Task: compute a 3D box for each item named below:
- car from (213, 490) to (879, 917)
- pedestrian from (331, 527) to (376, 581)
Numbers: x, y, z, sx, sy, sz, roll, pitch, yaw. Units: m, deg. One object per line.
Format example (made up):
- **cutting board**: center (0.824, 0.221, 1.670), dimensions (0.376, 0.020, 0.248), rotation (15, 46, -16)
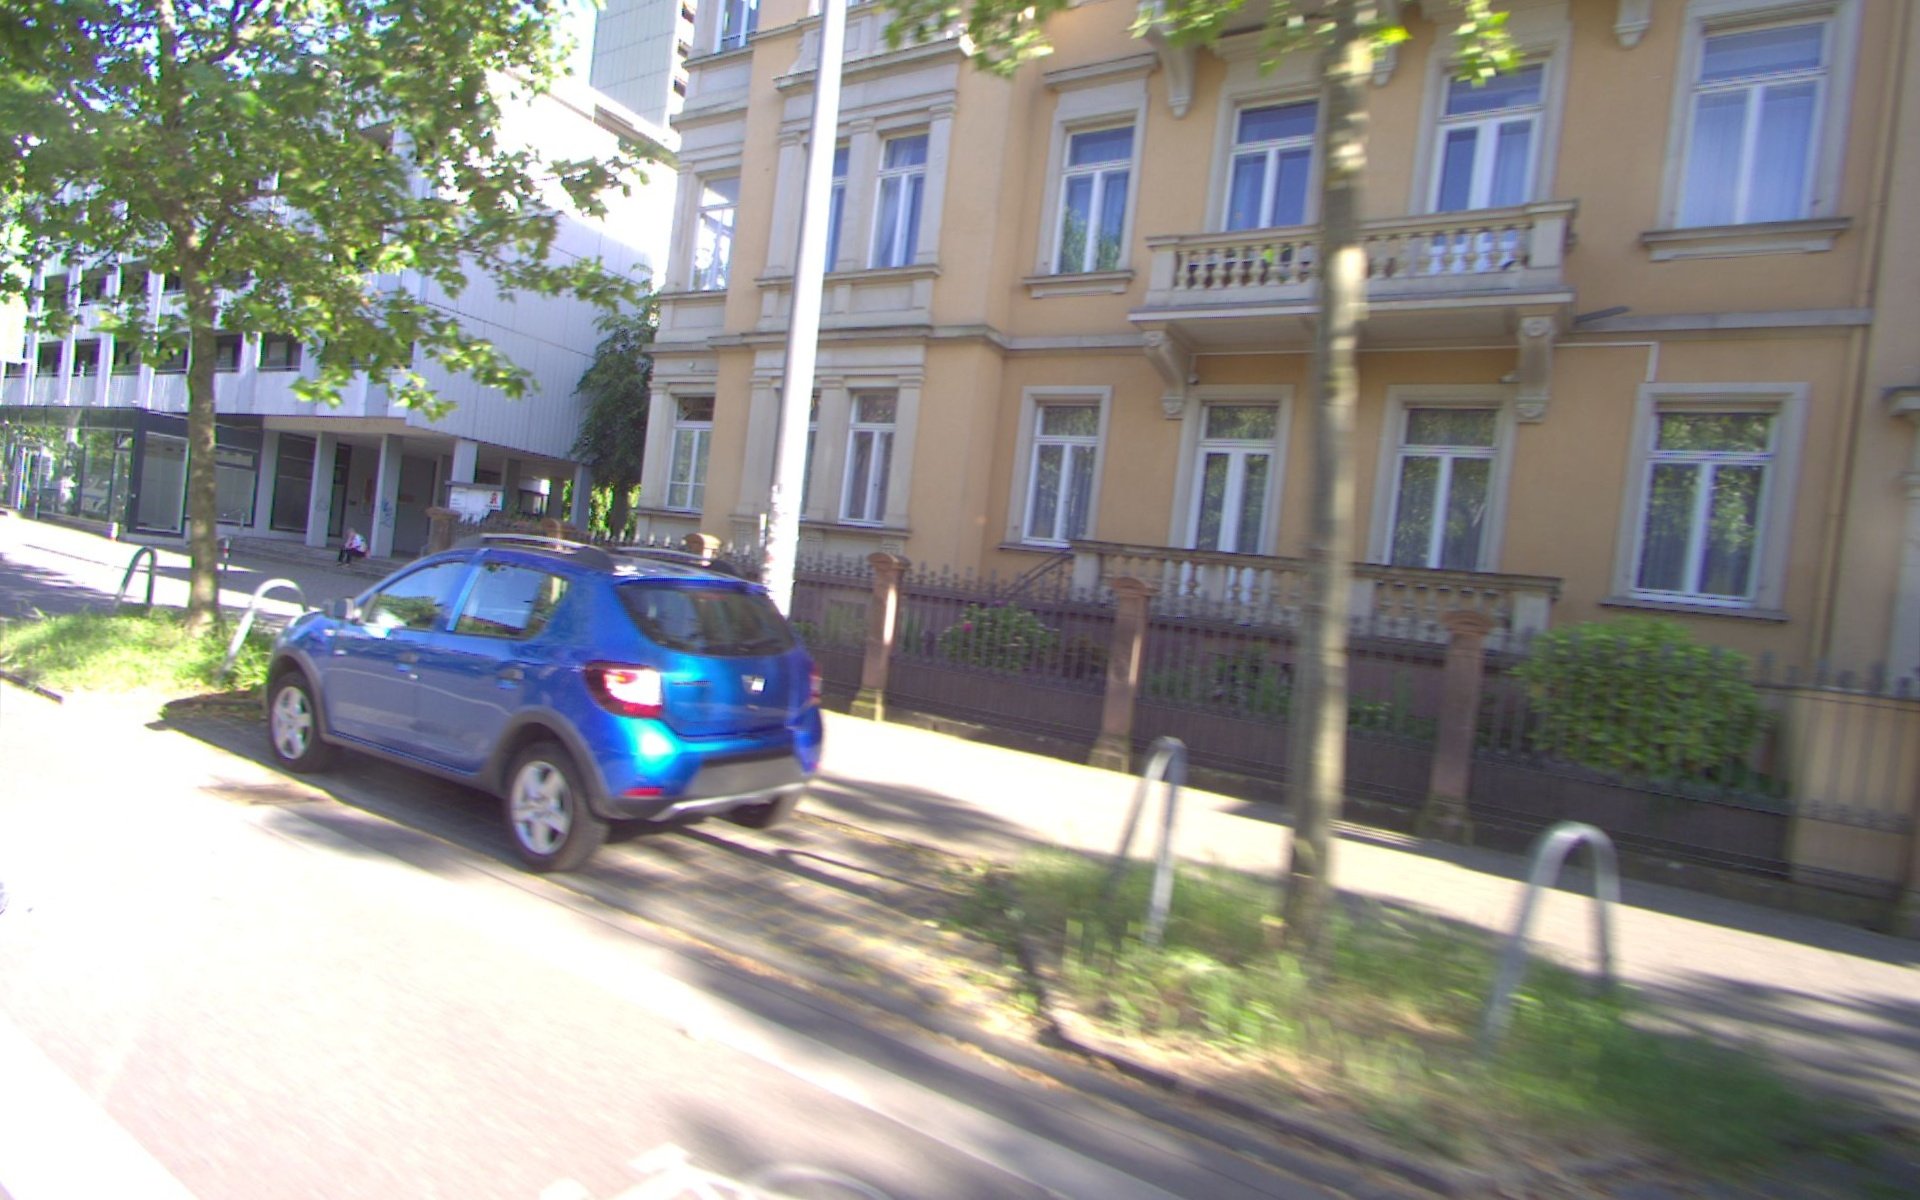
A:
- **car**: center (-2.689, 0.410, 6.260), dimensions (3.972, 1.679, 1.694), rotation (8, 1, 32)
- **pedestrian**: center (-17.117, -1.296, 28.380), dimensions (0.732, 1.373, 0.718), rotation (8, -1, 39)
